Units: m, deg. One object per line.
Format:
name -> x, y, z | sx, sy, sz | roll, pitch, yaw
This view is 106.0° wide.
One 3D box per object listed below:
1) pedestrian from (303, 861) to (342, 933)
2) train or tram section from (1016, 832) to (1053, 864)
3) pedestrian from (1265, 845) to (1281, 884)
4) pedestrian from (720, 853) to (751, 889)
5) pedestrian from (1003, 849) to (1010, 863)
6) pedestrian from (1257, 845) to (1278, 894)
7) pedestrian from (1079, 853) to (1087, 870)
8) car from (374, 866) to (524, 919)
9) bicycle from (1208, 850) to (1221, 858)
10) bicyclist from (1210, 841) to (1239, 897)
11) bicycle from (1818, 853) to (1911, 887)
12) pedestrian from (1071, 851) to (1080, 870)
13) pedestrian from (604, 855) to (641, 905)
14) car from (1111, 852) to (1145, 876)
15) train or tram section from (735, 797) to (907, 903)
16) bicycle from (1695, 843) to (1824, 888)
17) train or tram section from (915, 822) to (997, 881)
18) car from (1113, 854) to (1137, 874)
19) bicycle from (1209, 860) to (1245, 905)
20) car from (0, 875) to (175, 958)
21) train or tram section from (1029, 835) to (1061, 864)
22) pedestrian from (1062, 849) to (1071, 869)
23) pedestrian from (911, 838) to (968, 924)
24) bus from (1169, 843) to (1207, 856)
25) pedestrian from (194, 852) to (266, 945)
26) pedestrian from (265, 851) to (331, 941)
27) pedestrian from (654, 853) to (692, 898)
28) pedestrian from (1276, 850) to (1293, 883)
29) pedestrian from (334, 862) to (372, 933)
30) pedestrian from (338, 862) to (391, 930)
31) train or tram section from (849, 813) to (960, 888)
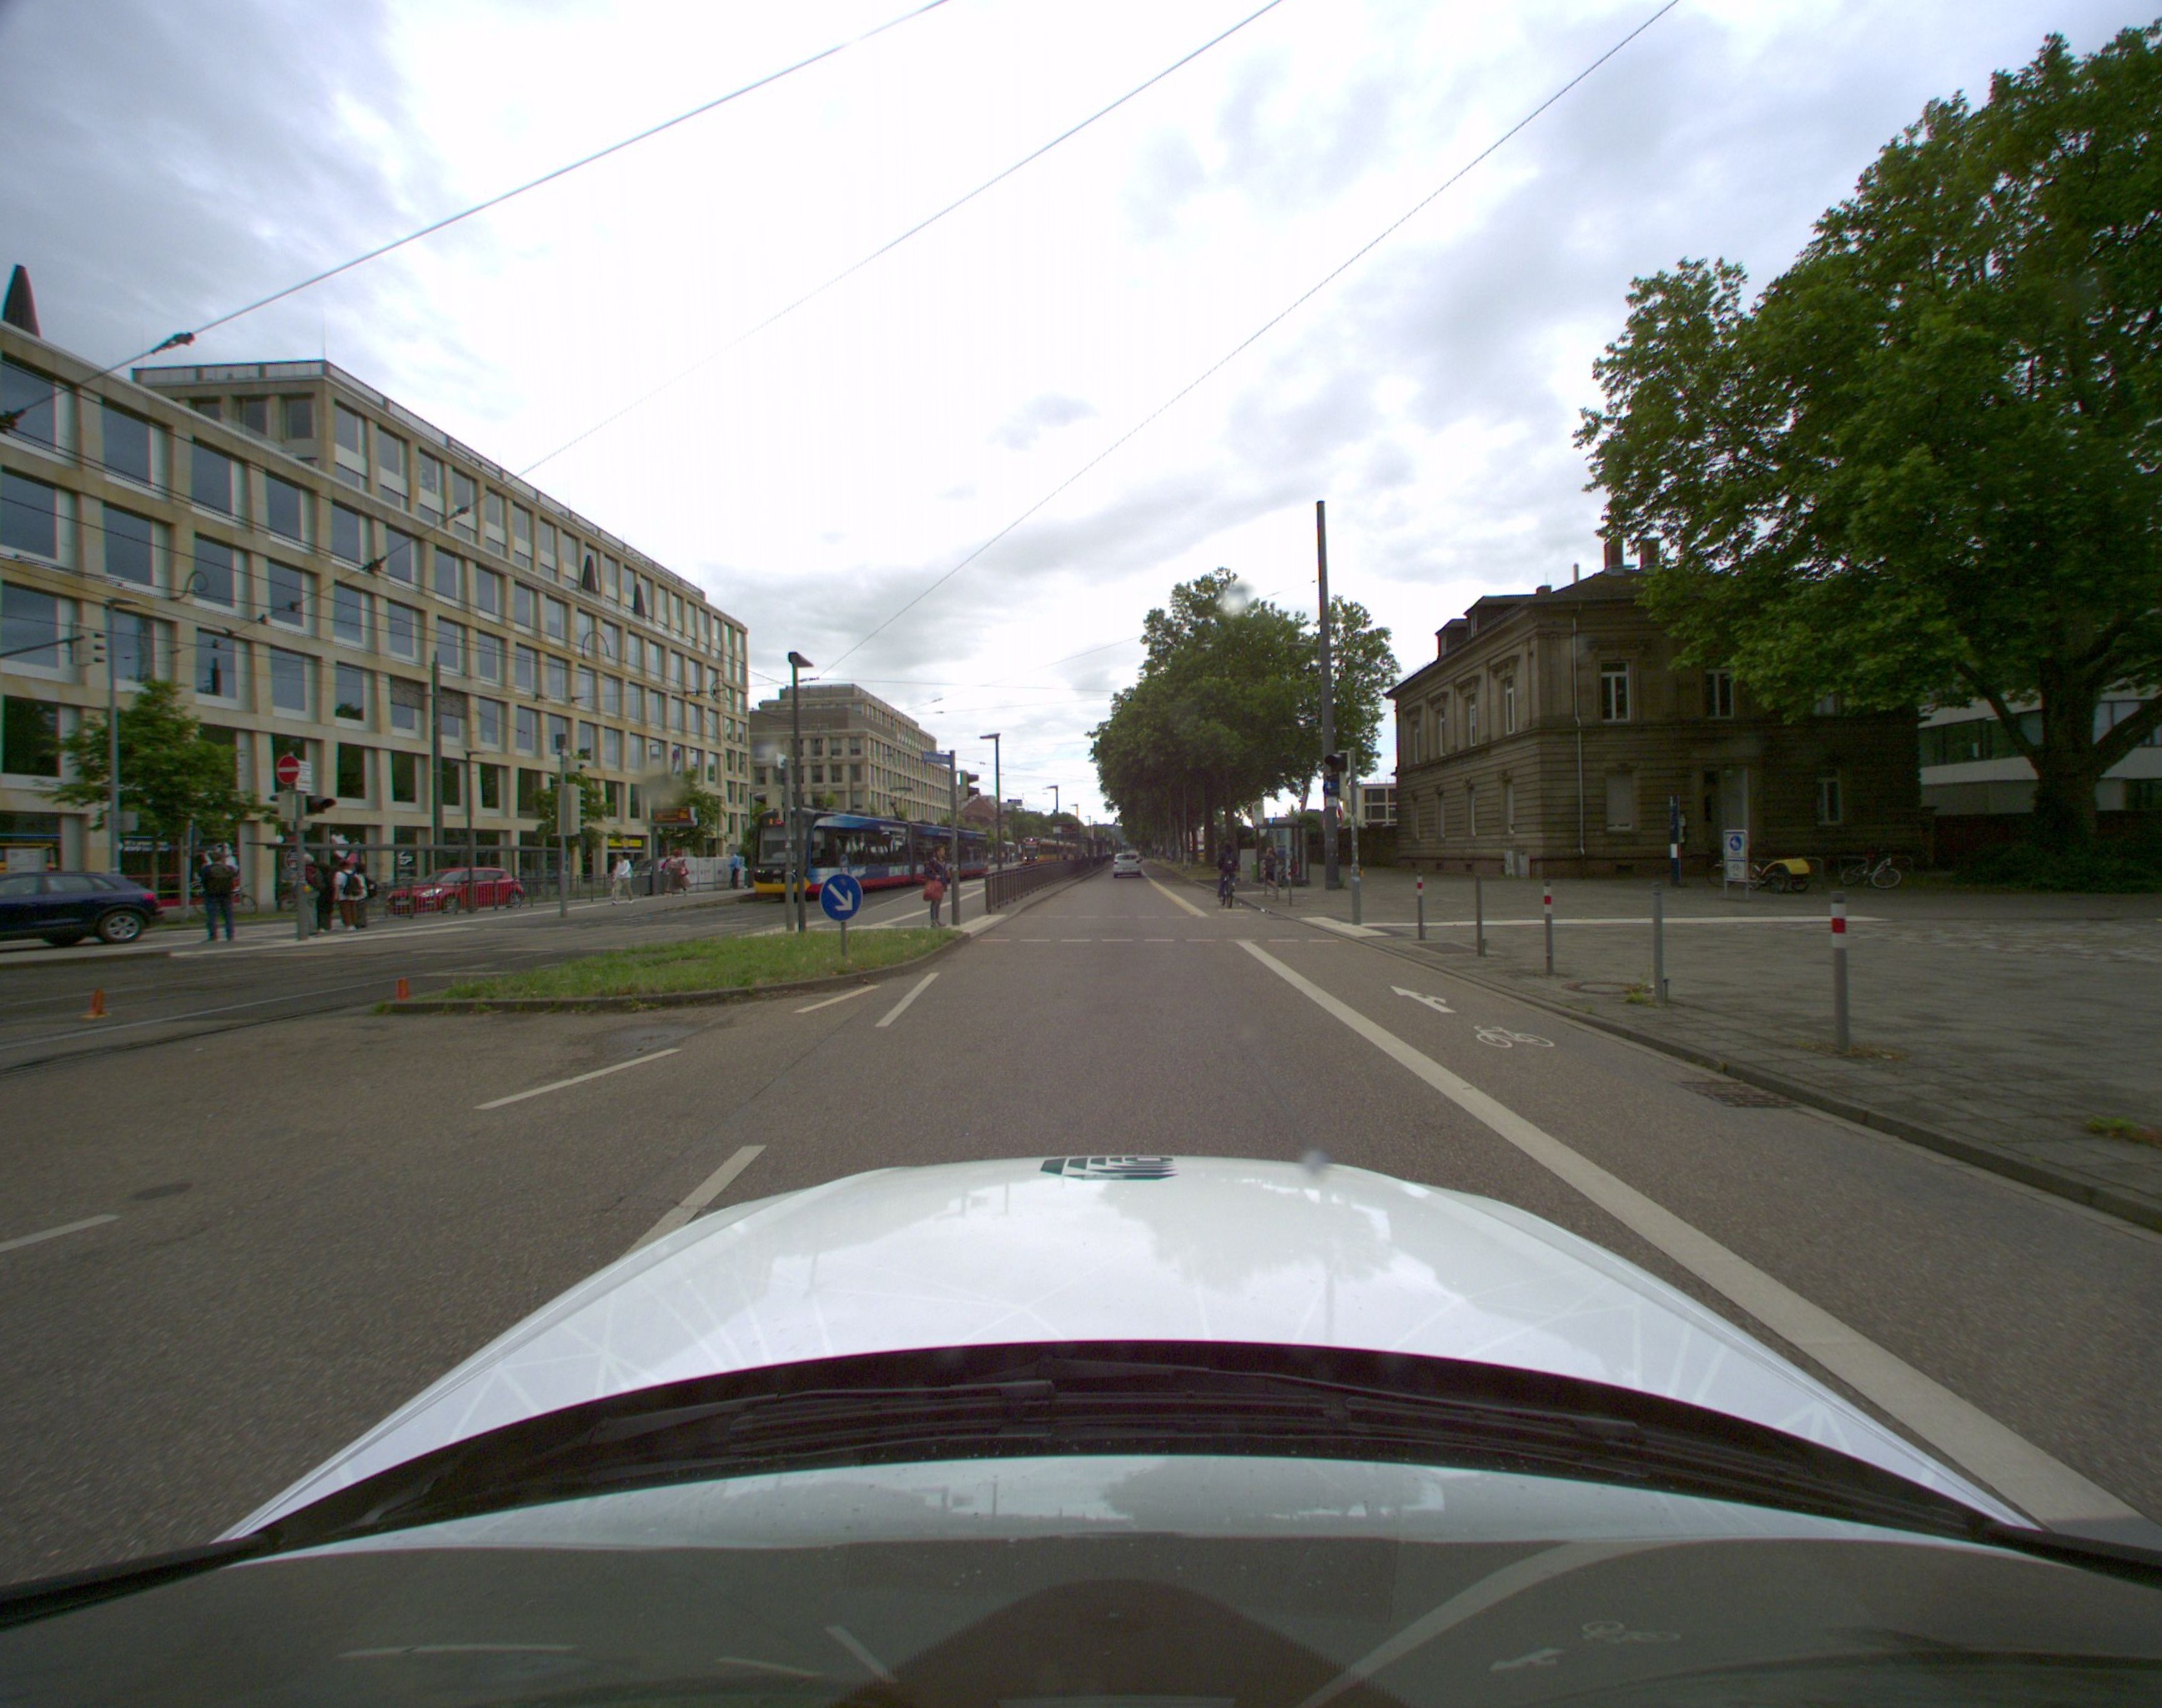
pedestrian -> -17.290, 0.976, 18.564 | 0.707, 1.598, 0.528 | -2, -1, 38
train or tram section -> -5.937, -0.722, 105.934 | 3.223, 3.862, 11.323 | -2, -1, 4
pedestrian -> 7.725, 0.419, 32.781 | 0.474, 1.563, 0.703 | -2, -1, 3
pedestrian -> -15.354, 0.749, 36.225 | 0.839, 1.586, 0.915 | -2, -1, 17
pedestrian -> -9.583, 0.289, 104.284 | 0.708, 1.795, 1.161 | -2, -1, 2
pedestrian -> 6.035, 0.496, 26.323 | 0.547, 1.528, 0.641 | -2, -1, 21
pedestrian -> 0.173, 0.638, 66.266 | 0.608, 1.341, 0.600 | -2, -1, 4
car -> -20.061, 1.178, 26.059 | 1.732, 1.449, 3.771 | -1, 0, 2
bicycle -> 20.865, -0.058, 127.141 | 1.883, 1.105, 0.550 | -3, -1, 1
bicyclist -> 3.967, 0.412, 22.530 | 0.638, 1.531, 0.665 | -2, -1, 1
bicycle -> 21.684, 0.428, 22.601 | 0.607, 0.872, 2.082 | -1, 0, 2
pedestrian -> -0.535, 0.607, 75.651 | 0.669, 1.793, 1.111 | -2, -1, -5
pedestrian -> -15.066, 0.849, 26.773 | 0.705, 1.586, 0.766 | -2, -1, 1
car -> 3.026, 0.625, 51.819 | 1.875, 1.453, 4.007 | -2, -1, 7
train or tram section -> -10.367, -0.077, 34.357 | 2.843, 3.640, 11.773 | -2, -1, 3
bicycle -> 19.017, 0.287, 22.977 | 0.897, 1.068, 3.408 | -1, 2, 2
train or tram section -> -8.665, -0.090, 58.573 | 2.842, 3.692, 13.535 | -2, -1, 4
car -> 3.696, 0.797, 67.604 | 1.832, 1.552, 4.006 | -1, 0, 5
bicycle -> 4.039, 0.764, 22.668 | 0.650, 1.150, 2.284 | -2, -1, 2
car -> -21.437, 1.250, 16.107 | 1.727, 1.494, 4.381 | -1, 0, 11
train or tram section -> -5.082, -0.520, 117.331 | 3.149, 3.862, 11.323 | -2, -1, 4
pedestrian -> -1.348, 0.431, 74.804 | 0.670, 1.793, 1.109 | -2, -1, -9
pedestrian -> -2.802, 0.515, 16.116 | 0.865, 1.643, 0.645 | -1, -1, -39
bus -> 27.019, -1.247, 205.065 | 9.244, 2.960, 2.000 | -2, -1, 1
pedestrian -> -17.637, 0.903, 16.901 | 0.858, 1.868, 0.740 | -1, -1, -31
pedestrian -> -16.775, 0.882, 17.463 | 0.858, 1.868, 0.740 | -1, -1, -31
pedestrian -> -14.944, 0.782, 29.820 | 0.904, 1.586, 0.848 | -2, -1, 1
pedestrian -> 7.863, 0.472, 31.529 | 0.474, 1.234, 0.703 | -2, -1, 3
pedestrian -> -17.046, 1.011, 19.060 | 0.707, 1.598, 0.528 | -2, -1, 38
pedestrian -> -17.391, 0.999, 19.778 | 0.716, 1.598, 0.704 | -1, -1, -19
train or tram section -> -9.598, -0.119, 46.032 | 2.842, 3.640, 11.713 | -2, -1, 4
